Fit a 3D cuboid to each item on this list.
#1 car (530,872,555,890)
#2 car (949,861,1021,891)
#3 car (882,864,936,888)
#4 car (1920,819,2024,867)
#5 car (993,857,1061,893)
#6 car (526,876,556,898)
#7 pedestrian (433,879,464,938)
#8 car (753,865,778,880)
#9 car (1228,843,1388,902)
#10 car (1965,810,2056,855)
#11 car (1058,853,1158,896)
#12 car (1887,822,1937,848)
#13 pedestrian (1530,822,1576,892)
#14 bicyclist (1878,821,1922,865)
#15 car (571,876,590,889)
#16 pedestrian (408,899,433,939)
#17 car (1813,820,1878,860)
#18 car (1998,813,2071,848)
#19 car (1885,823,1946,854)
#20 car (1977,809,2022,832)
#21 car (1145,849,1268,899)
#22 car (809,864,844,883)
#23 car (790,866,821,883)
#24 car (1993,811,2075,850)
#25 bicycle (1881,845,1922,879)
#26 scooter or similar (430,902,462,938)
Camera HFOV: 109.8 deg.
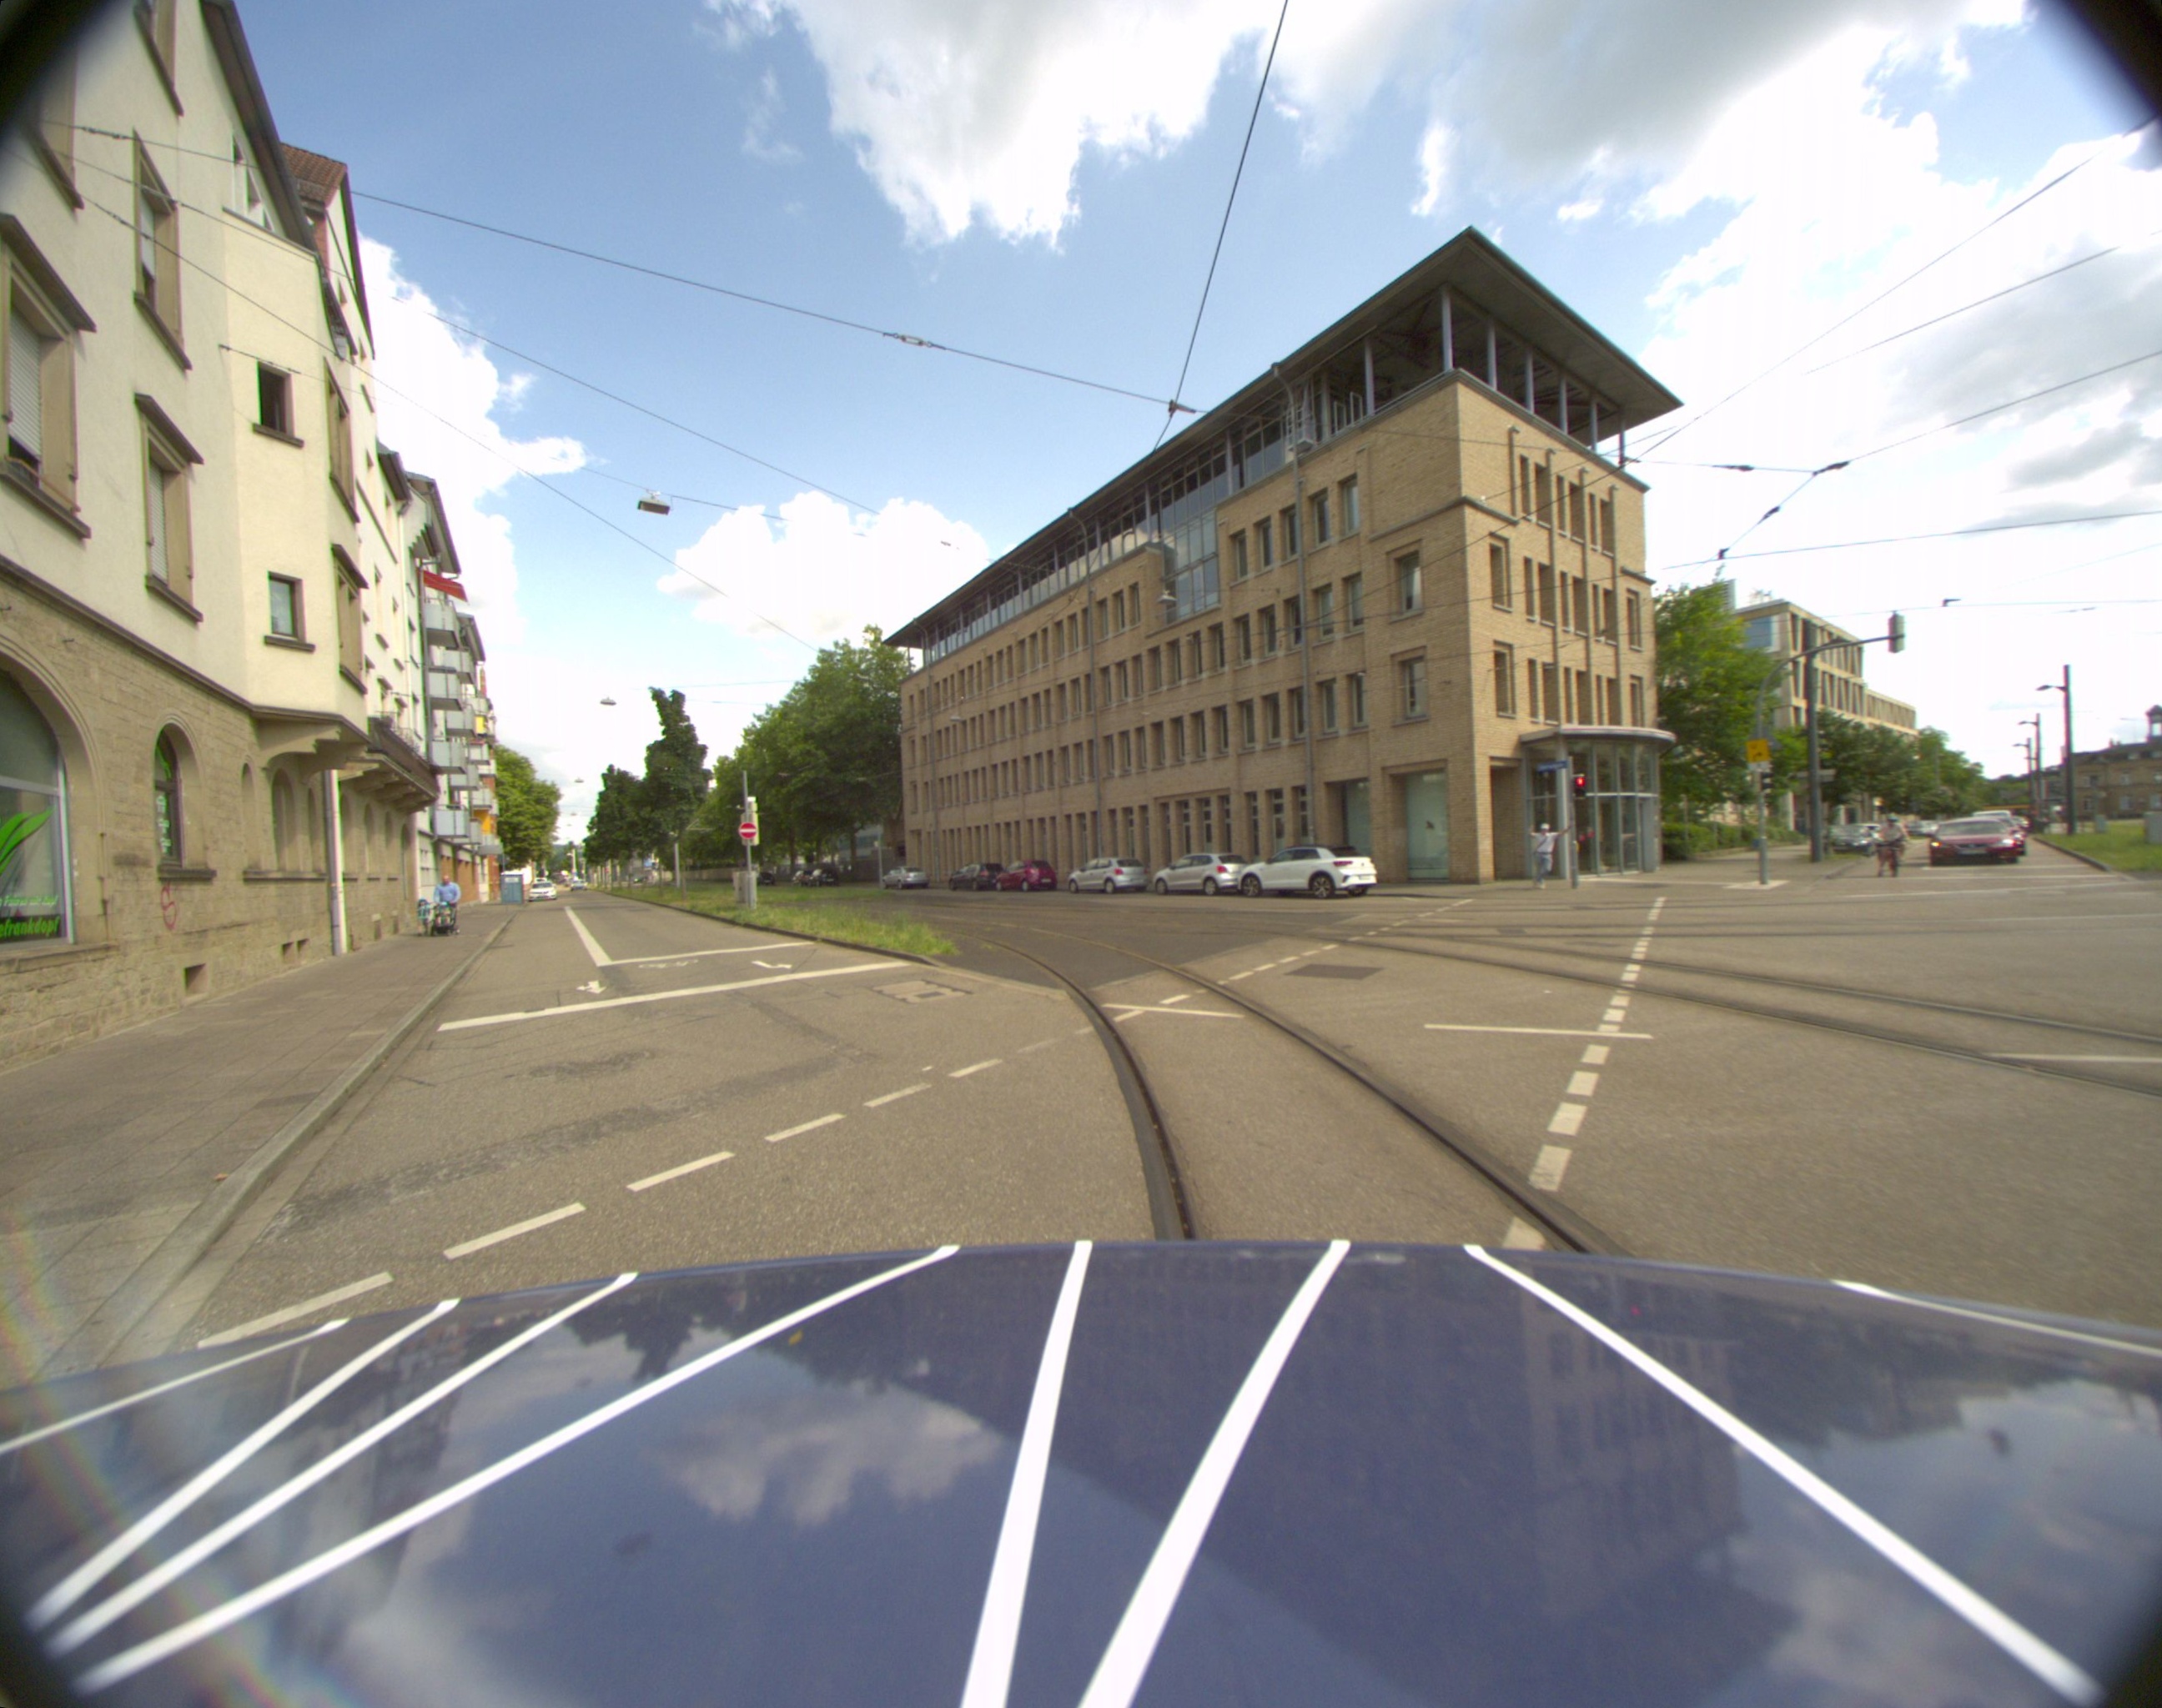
[{"bbox_3d":[-51.352,2.580,72.511,1.805,1.521,4.031,-4,1,-35],"label":"car"},{"bbox_3d":[-5.028,1.135,39.281,1.942,1.388,4.229,-3,0,-34],"label":"car"},{"bbox_3d":[-10.828,1.372,47.591,1.723,1.388,4.474,-3,0,-33],"label":"car"},{"bbox_3d":[28.596,-0.369,24.511,4.007,1.368,1.886,-3,1,-44],"label":"car"},{"bbox_3d":[-2.596,0.979,35.929,1.590,1.522,3.541,-3,0,-34],"label":"car"},{"bbox_3d":[-42.195,2.531,59.444,1.805,1.521,4.031,-4,1,-35],"label":"car"},{"bbox_3d":[-19.094,1.614,22.952,0.624,1.728,0.875,0,-1,-34],"label":"pedestrian"},{"bbox_3d":[-33.022,1.956,79.470,1.605,1.455,3.990,-3,0,-33],"label":"car"},{"bbox_3d":[6.624,0.535,22.600,1.942,1.526,4.247,-3,0,-34],"label":"car"},{"bbox_3d":[34.851,-0.817,28.586,4.007,1.543,1.995,-3,1,-41],"label":"car"},{"bbox_3d":[1.007,0.812,30.482,1.860,1.522,4.200,-3,0,-34],"label":"car"},{"bbox_3d":[47.007,-1.096,42.965,4.007,1.281,1.822,-3,1,-41],"label":"car"},{"bbox_3d":[12.410,0.091,20.006,0.957,1.785,0.764,-2,1,30],"label":"pedestrian"},{"bbox_3d":[22.357,-0.308,20.757,0.900,1.140,0.774,-3,1,-43],"label":"bicyclist"},{"bbox_3d":[-64.924,3.641,98.533,1.805,1.521,4.031,-4,1,-35],"label":"car"},{"bbox_3d":[-19.484,1.919,22.413,0.458,1.128,0.493,-3,1,-34],"label":"pedestrian"},{"bbox_3d":[33.320,-0.623,33.124,4.007,1.563,1.886,-3,1,-44],"label":"car"},{"bbox_3d":[46.110,-1.169,36.818,4.007,1.543,1.995,-3,1,-41],"label":"car"},{"bbox_3d":[39.158,-0.729,35.613,4.007,1.281,1.822,-3,1,-41],"label":"car"},{"bbox_3d":[68.467,-2.510,56.675,4.007,1.543,1.995,-3,1,-41],"label":"car"},{"bbox_3d":[4.255,0.674,26.337,1.942,1.522,4.004,-3,0,-34],"label":"car"},{"bbox_3d":[-20.819,1.568,62.077,1.811,1.444,3.991,-3,0,-32],"label":"car"},{"bbox_3d":[-24.065,1.771,66.291,1.562,1.417,3.892,-3,0,-35],"label":"car"},{"bbox_3d":[41.346,-1.023,33.054,4.007,1.543,1.995,-3,1,-41],"label":"car"},{"bbox_3d":[22.308,0.196,20.692,2.152,0.821,0.716,-3,1,-43],"label":"bicycle"},{"bbox_3d":[-18.652,1.919,22.324,0.595,0.996,0.903,2,-2,-34],"label":"scooter or similar"}]
